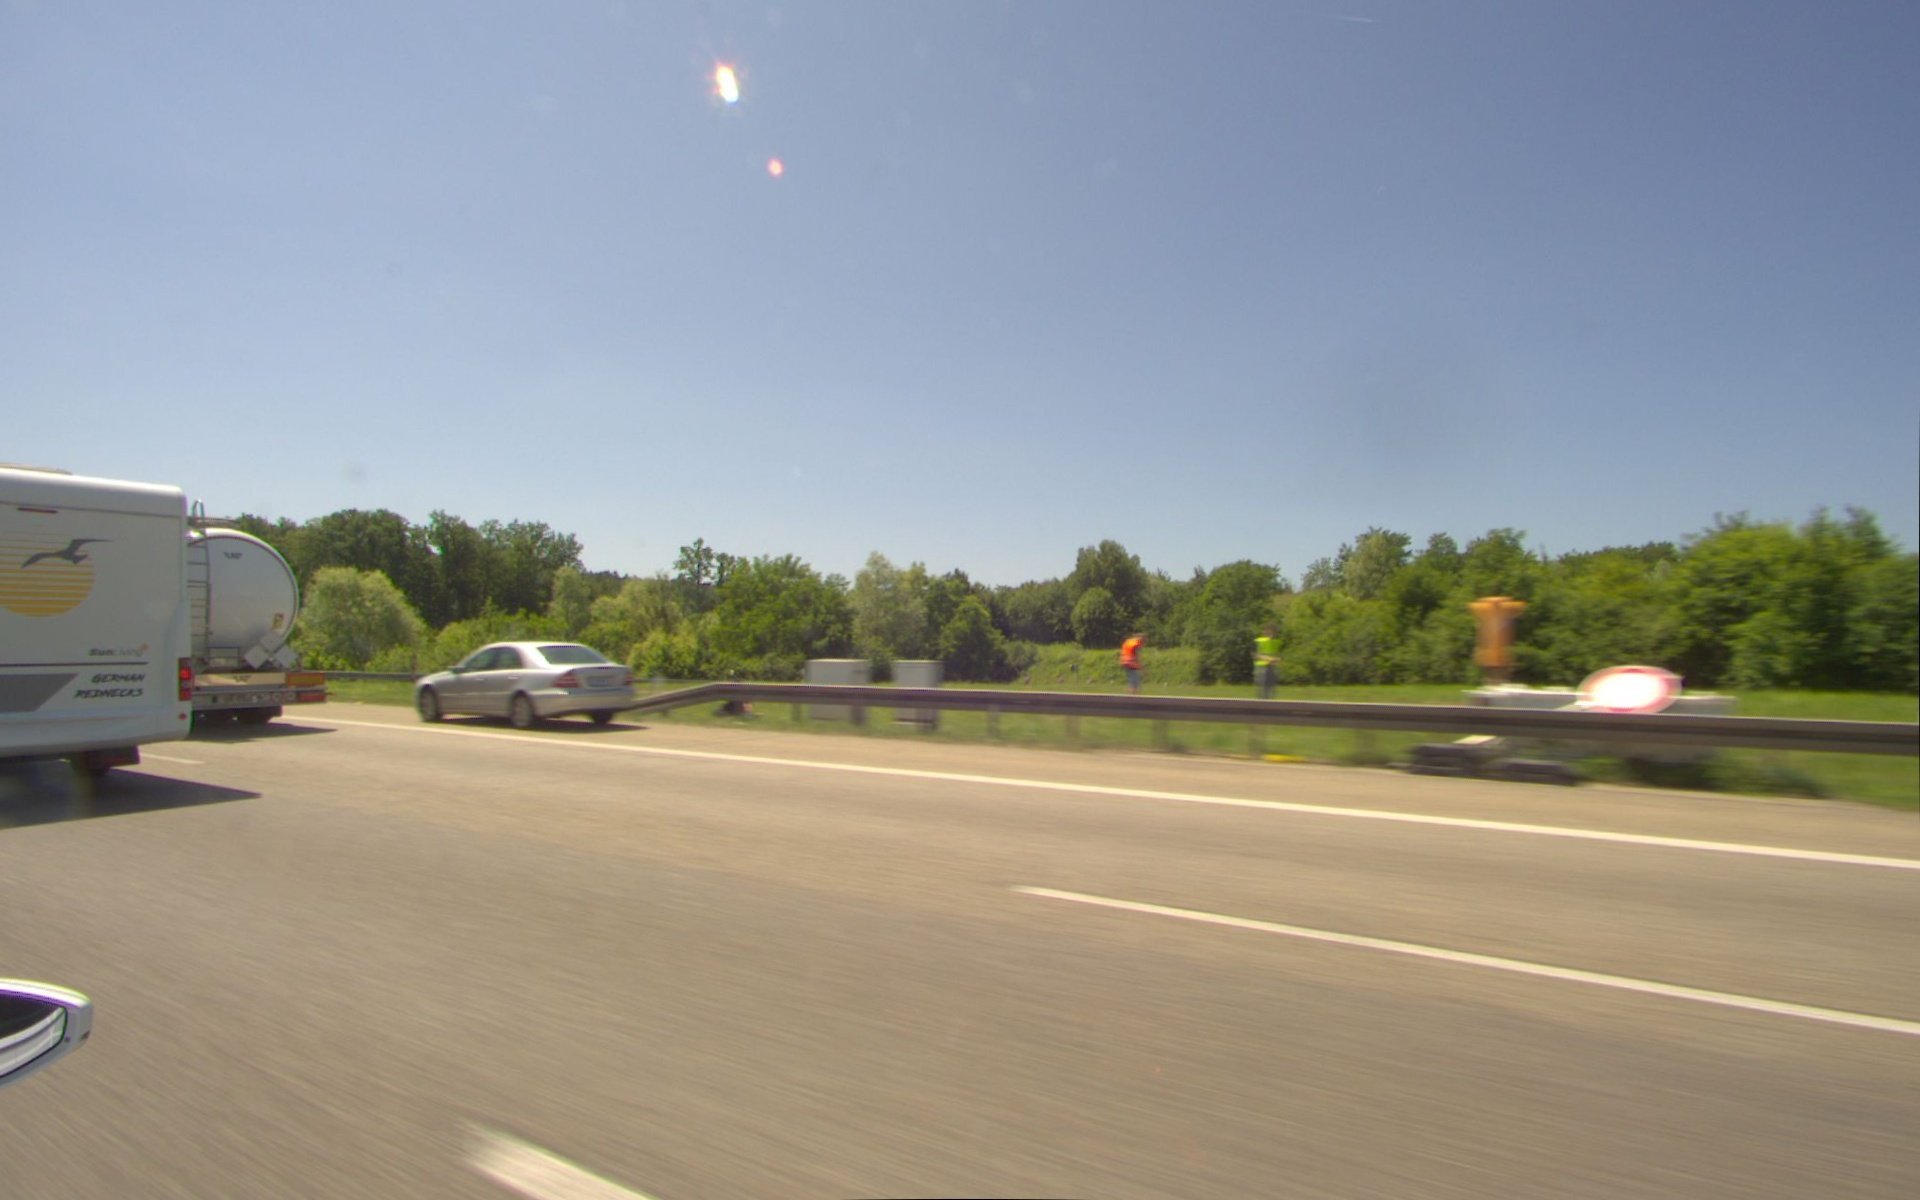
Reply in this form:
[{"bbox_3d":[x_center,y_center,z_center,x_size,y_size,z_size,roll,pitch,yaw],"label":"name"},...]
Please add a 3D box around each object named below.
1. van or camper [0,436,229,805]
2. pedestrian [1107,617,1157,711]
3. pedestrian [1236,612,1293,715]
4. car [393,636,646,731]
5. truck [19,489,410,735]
[{"bbox_3d":[-10.932,0.249,10.675,7.079,3.117,2.599,-1,-2,32],"label":"van or camper"},{"bbox_3d":[3.947,1.465,22.986,0.915,2.104,0.687,-1,-5,33],"label":"pedestrian"},{"bbox_3d":[6.436,1.347,21.143,0.914,2.104,0.688,4,-5,-24],"label":"pedestrian"},{"bbox_3d":[-7.760,1.387,17.491,4.700,1.457,1.712,-1,-4,33],"label":"car"},{"bbox_3d":[-13.815,0.236,18.284,8.404,3.621,2.923,0,-1,33],"label":"truck"}]
